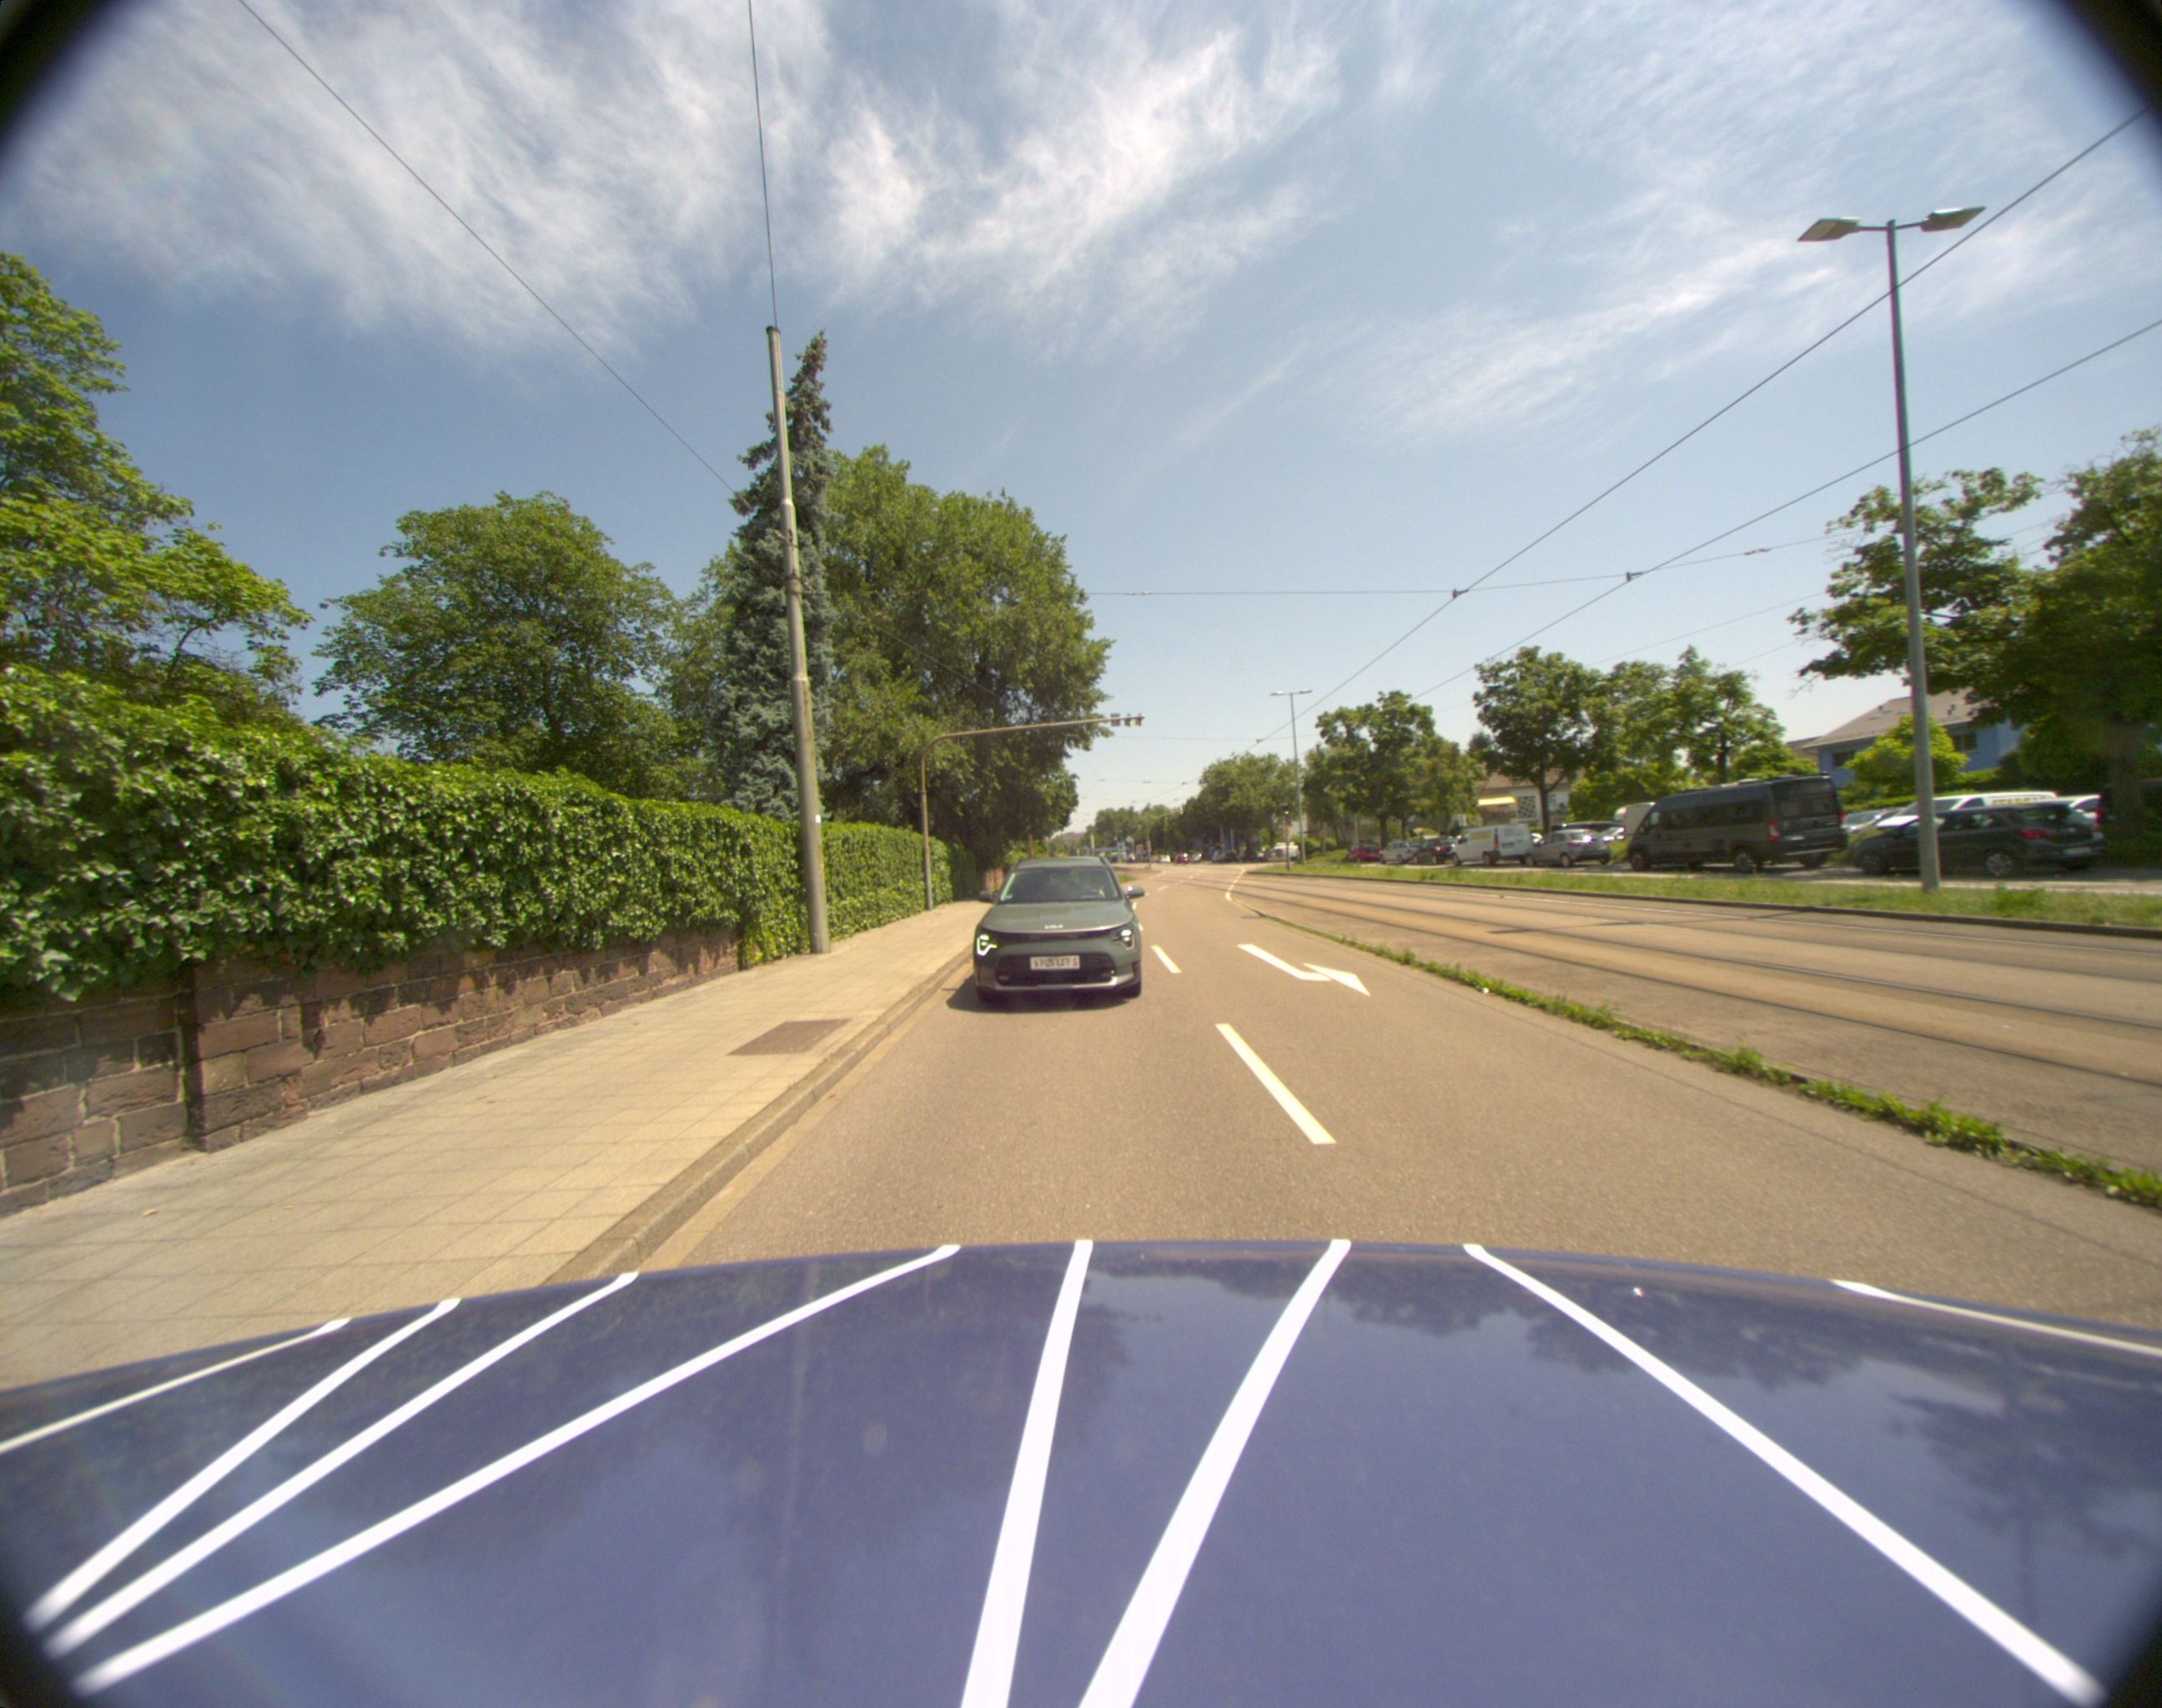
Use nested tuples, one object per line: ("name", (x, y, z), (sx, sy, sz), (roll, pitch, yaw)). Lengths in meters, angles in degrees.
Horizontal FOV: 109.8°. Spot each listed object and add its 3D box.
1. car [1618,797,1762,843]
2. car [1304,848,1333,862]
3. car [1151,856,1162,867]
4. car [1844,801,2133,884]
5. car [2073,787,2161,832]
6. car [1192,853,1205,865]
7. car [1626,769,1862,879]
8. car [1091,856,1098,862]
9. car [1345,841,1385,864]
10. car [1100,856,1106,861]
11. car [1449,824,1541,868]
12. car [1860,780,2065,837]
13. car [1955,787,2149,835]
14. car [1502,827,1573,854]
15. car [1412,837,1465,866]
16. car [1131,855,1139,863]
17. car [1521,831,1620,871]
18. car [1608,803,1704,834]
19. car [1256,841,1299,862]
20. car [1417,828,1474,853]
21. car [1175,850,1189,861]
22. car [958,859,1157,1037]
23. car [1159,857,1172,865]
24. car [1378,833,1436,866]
("car", (30.243, -1.661, 37.882), (5.434, 1.945, 2.029), (-3, 1, 2))
("car", (20.558, 0.076, 65.863), (1.582, 1.152, 3.423), (-3, 1, 2))
("car", (14.700, 1.403, 148.314), (1.780, 1.907, 3.754), (-3, 1, 2))
("car", (19.871, -0.254, 16.938), (1.976, 1.568, 3.751), (-3, 1, 1))
("car", (30.501, -1.326, 20.785), (4.261, 1.137, 2.032), (-4, 0, -4))
("car", (20.186, 0.836, 130.813), (1.703, 1.842, 3.983), (-3, 1, 2))
("car", (19.745, -0.845, 23.121), (2.244, 2.822, 5.667), (-3, 1, 1))
("car", (4.492, 1.771, 260.437), (1.999, 2.002, 3.998), (-3, 1, -4))
("car", (20.106, -0.115, 53.890), (1.582, 1.472, 3.423), (-3, 1, 2))
("car", (6.906, 1.420, 237.719), (1.759, 1.543, 3.999), (-4, 0, -2))
("car", (20.031, -0.400, 37.032), (1.924, 1.937, 4.816), (-3, 1, 2))
("car", (30.690, -1.567, 26.556), (4.926, 1.568, 1.999), (-4, 1, -2))
("car", (30.133, -1.306, 23.656), (3.998, 1.137, 1.734), (-4, 0, -4))
("car", (32.132, -0.955, 53.527), (3.999, 1.675, 1.715), (-3, 1, -6))
("car", (19.966, -0.157, 42.575), (1.429, 1.470, 3.262), (-3, 1, 0))
("car", (13.111, 1.193, 186.017), (1.780, 1.907, 3.754), (-3, 1, 2))
("car", (20.054, -0.145, 31.308), (1.767, 1.456, 3.608), (-3, 1, 2))
("car", (43.764, -2.683, 57.911), (5.744, 2.051, 2.147), (-3, 1, -2))
("car", (20.631, -0.222, 79.687), (4.206, 1.979, 1.823), (-2, 1, 15))
("car", (30.755, -1.155, 64.108), (3.999, 1.863, 1.715), (-3, 1, -6))
("car", (15.203, 0.165, 114.397), (1.820, 1.472, 3.423), (-3, 1, 2))
("car", (-0.252, 0.922, 9.471), (1.824, 1.577, 4.287), (-4, 0, -1))
("car", (15.015, 1.282, 135.127), (1.781, 1.310, 3.753), (-3, 1, -2))
("car", (20.235, -0.301, 47.307), (1.635, 1.882, 4.496), (-3, 1, 0))
